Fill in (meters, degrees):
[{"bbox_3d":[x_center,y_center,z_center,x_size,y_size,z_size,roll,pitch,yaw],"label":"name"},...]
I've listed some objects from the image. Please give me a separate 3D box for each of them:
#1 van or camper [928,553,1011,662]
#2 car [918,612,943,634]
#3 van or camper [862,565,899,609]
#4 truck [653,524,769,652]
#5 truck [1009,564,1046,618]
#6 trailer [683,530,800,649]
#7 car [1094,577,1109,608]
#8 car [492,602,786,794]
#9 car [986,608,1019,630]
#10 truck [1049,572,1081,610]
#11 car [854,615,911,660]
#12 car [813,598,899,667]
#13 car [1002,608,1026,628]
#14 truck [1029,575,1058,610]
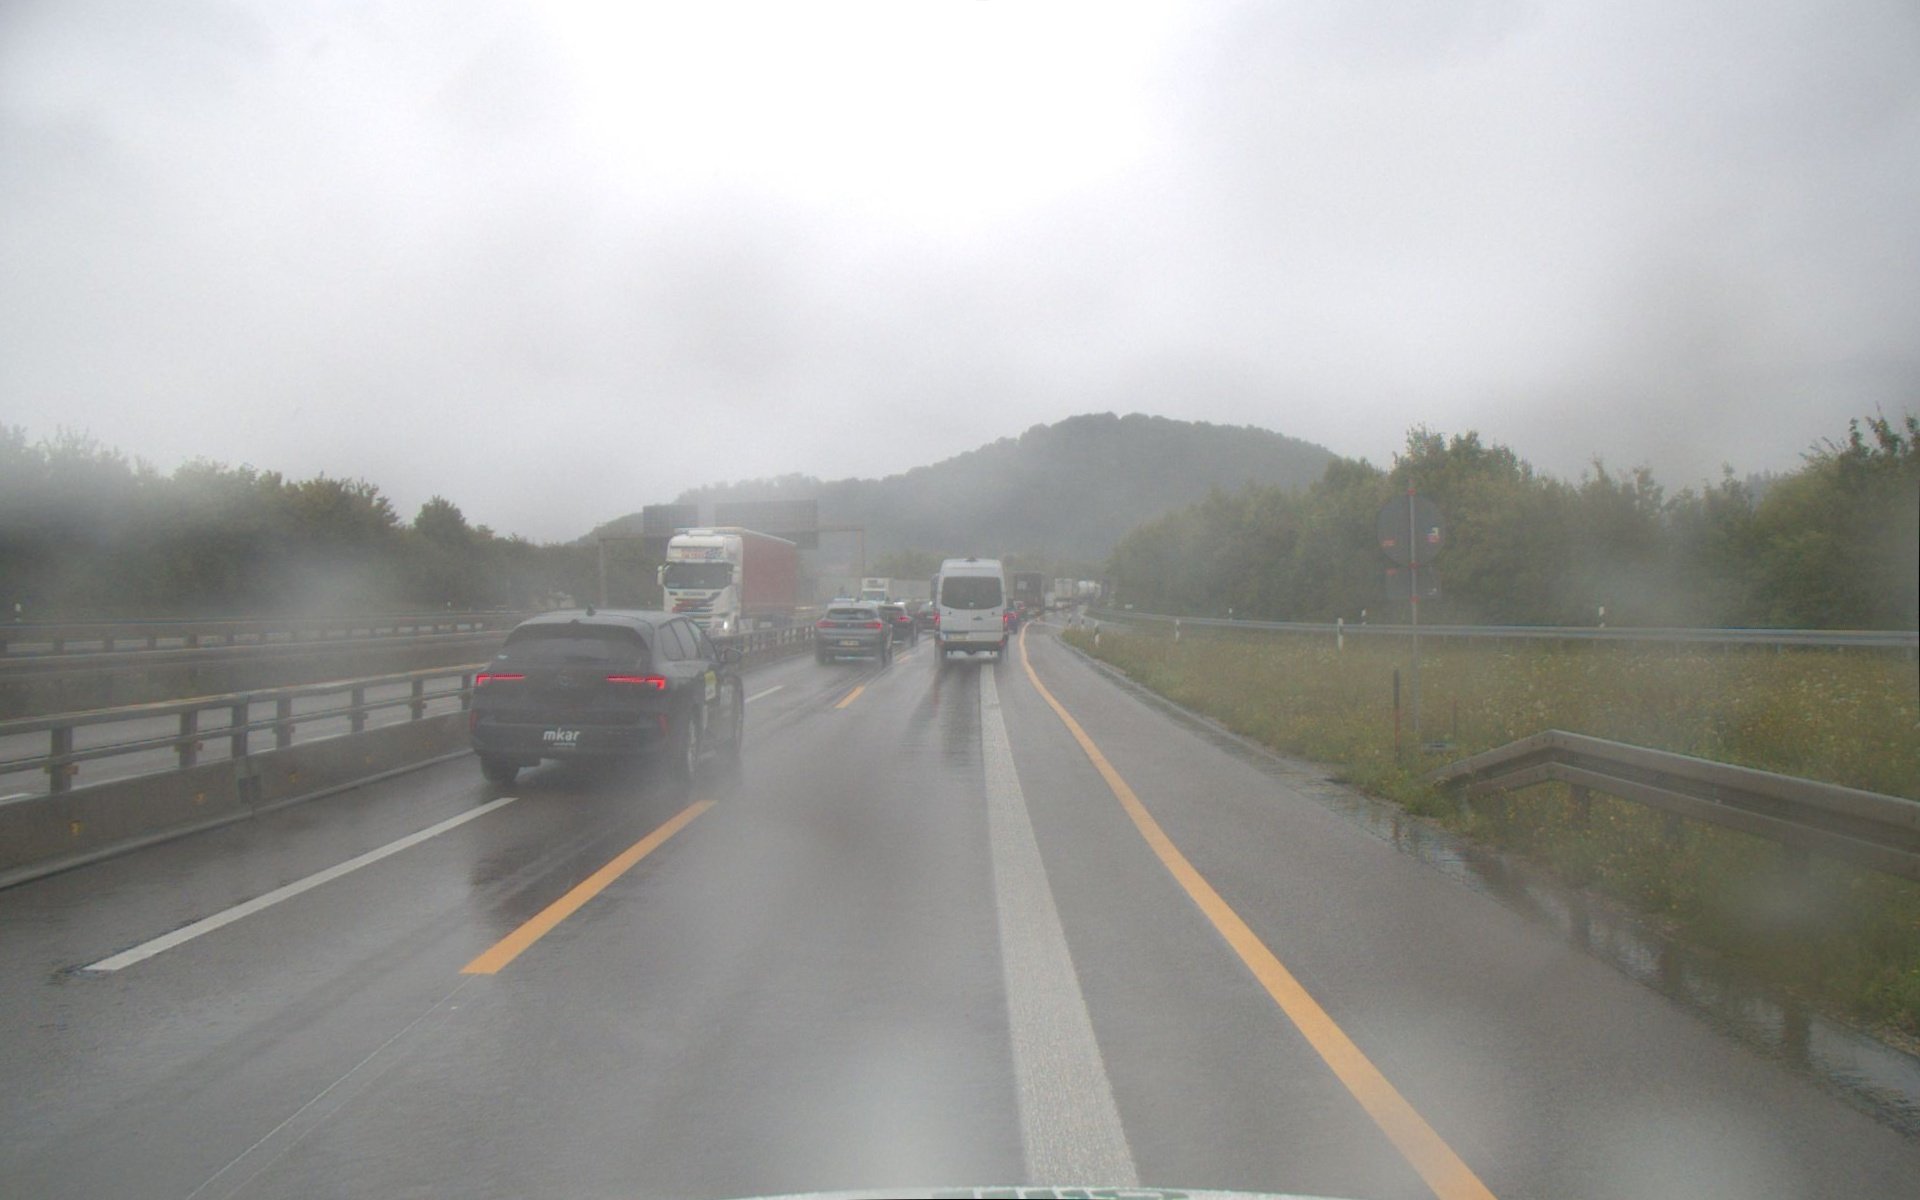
[{"bbox_3d":[0.274,0.200,44.281,2.095,2.769,4.648,0,0,1],"label":"van or camper"},{"bbox_3d":[-1.463,1.131,82.450,1.237,1.097,3.253,0,0,-1],"label":"car"},{"bbox_3d":[-5.825,-0.901,122.281,2.246,3.094,6.699,1,-1,1],"label":"van or camper"},{"bbox_3d":[-8.915,-0.396,59.994,2.945,4.347,6.801,-1,-1,2],"label":"truck"},{"bbox_3d":[6.331,-0.749,155.703,3.251,4.868,9.909,1,-1,2],"label":"truck"},{"bbox_3d":[-8.665,-0.341,67.019,2.914,4.370,11.061,-1,0,2],"label":"trailer"},{"bbox_3d":[20.102,-0.991,234.721,2.014,4.265,6.749,0,0,4],"label":"car"},{"bbox_3d":[-2.725,0.772,15.138,1.900,1.452,4.758,1,0,-2],"label":"car"},{"bbox_3d":[2.151,0.952,84.224,1.357,1.097,3.120,0,0,-4],"label":"car"},{"bbox_3d":[14.408,-1.154,226.115,3.845,4.868,9.913,1,-1,7],"label":"truck"},{"bbox_3d":[-2.761,1.334,59.755,1.814,1.527,4.000,0,0,0],"label":"car"},{"bbox_3d":[-2.634,0.813,42.721,1.828,1.688,3.989,0,0,2],"label":"car"},{"bbox_3d":[3.533,1.151,108.302,1.356,1.278,3.121,0,0,-2],"label":"car"},{"bbox_3d":[9.718,-0.857,193.451,3.251,3.827,9.909,1,-1,2],"label":"truck"}]
